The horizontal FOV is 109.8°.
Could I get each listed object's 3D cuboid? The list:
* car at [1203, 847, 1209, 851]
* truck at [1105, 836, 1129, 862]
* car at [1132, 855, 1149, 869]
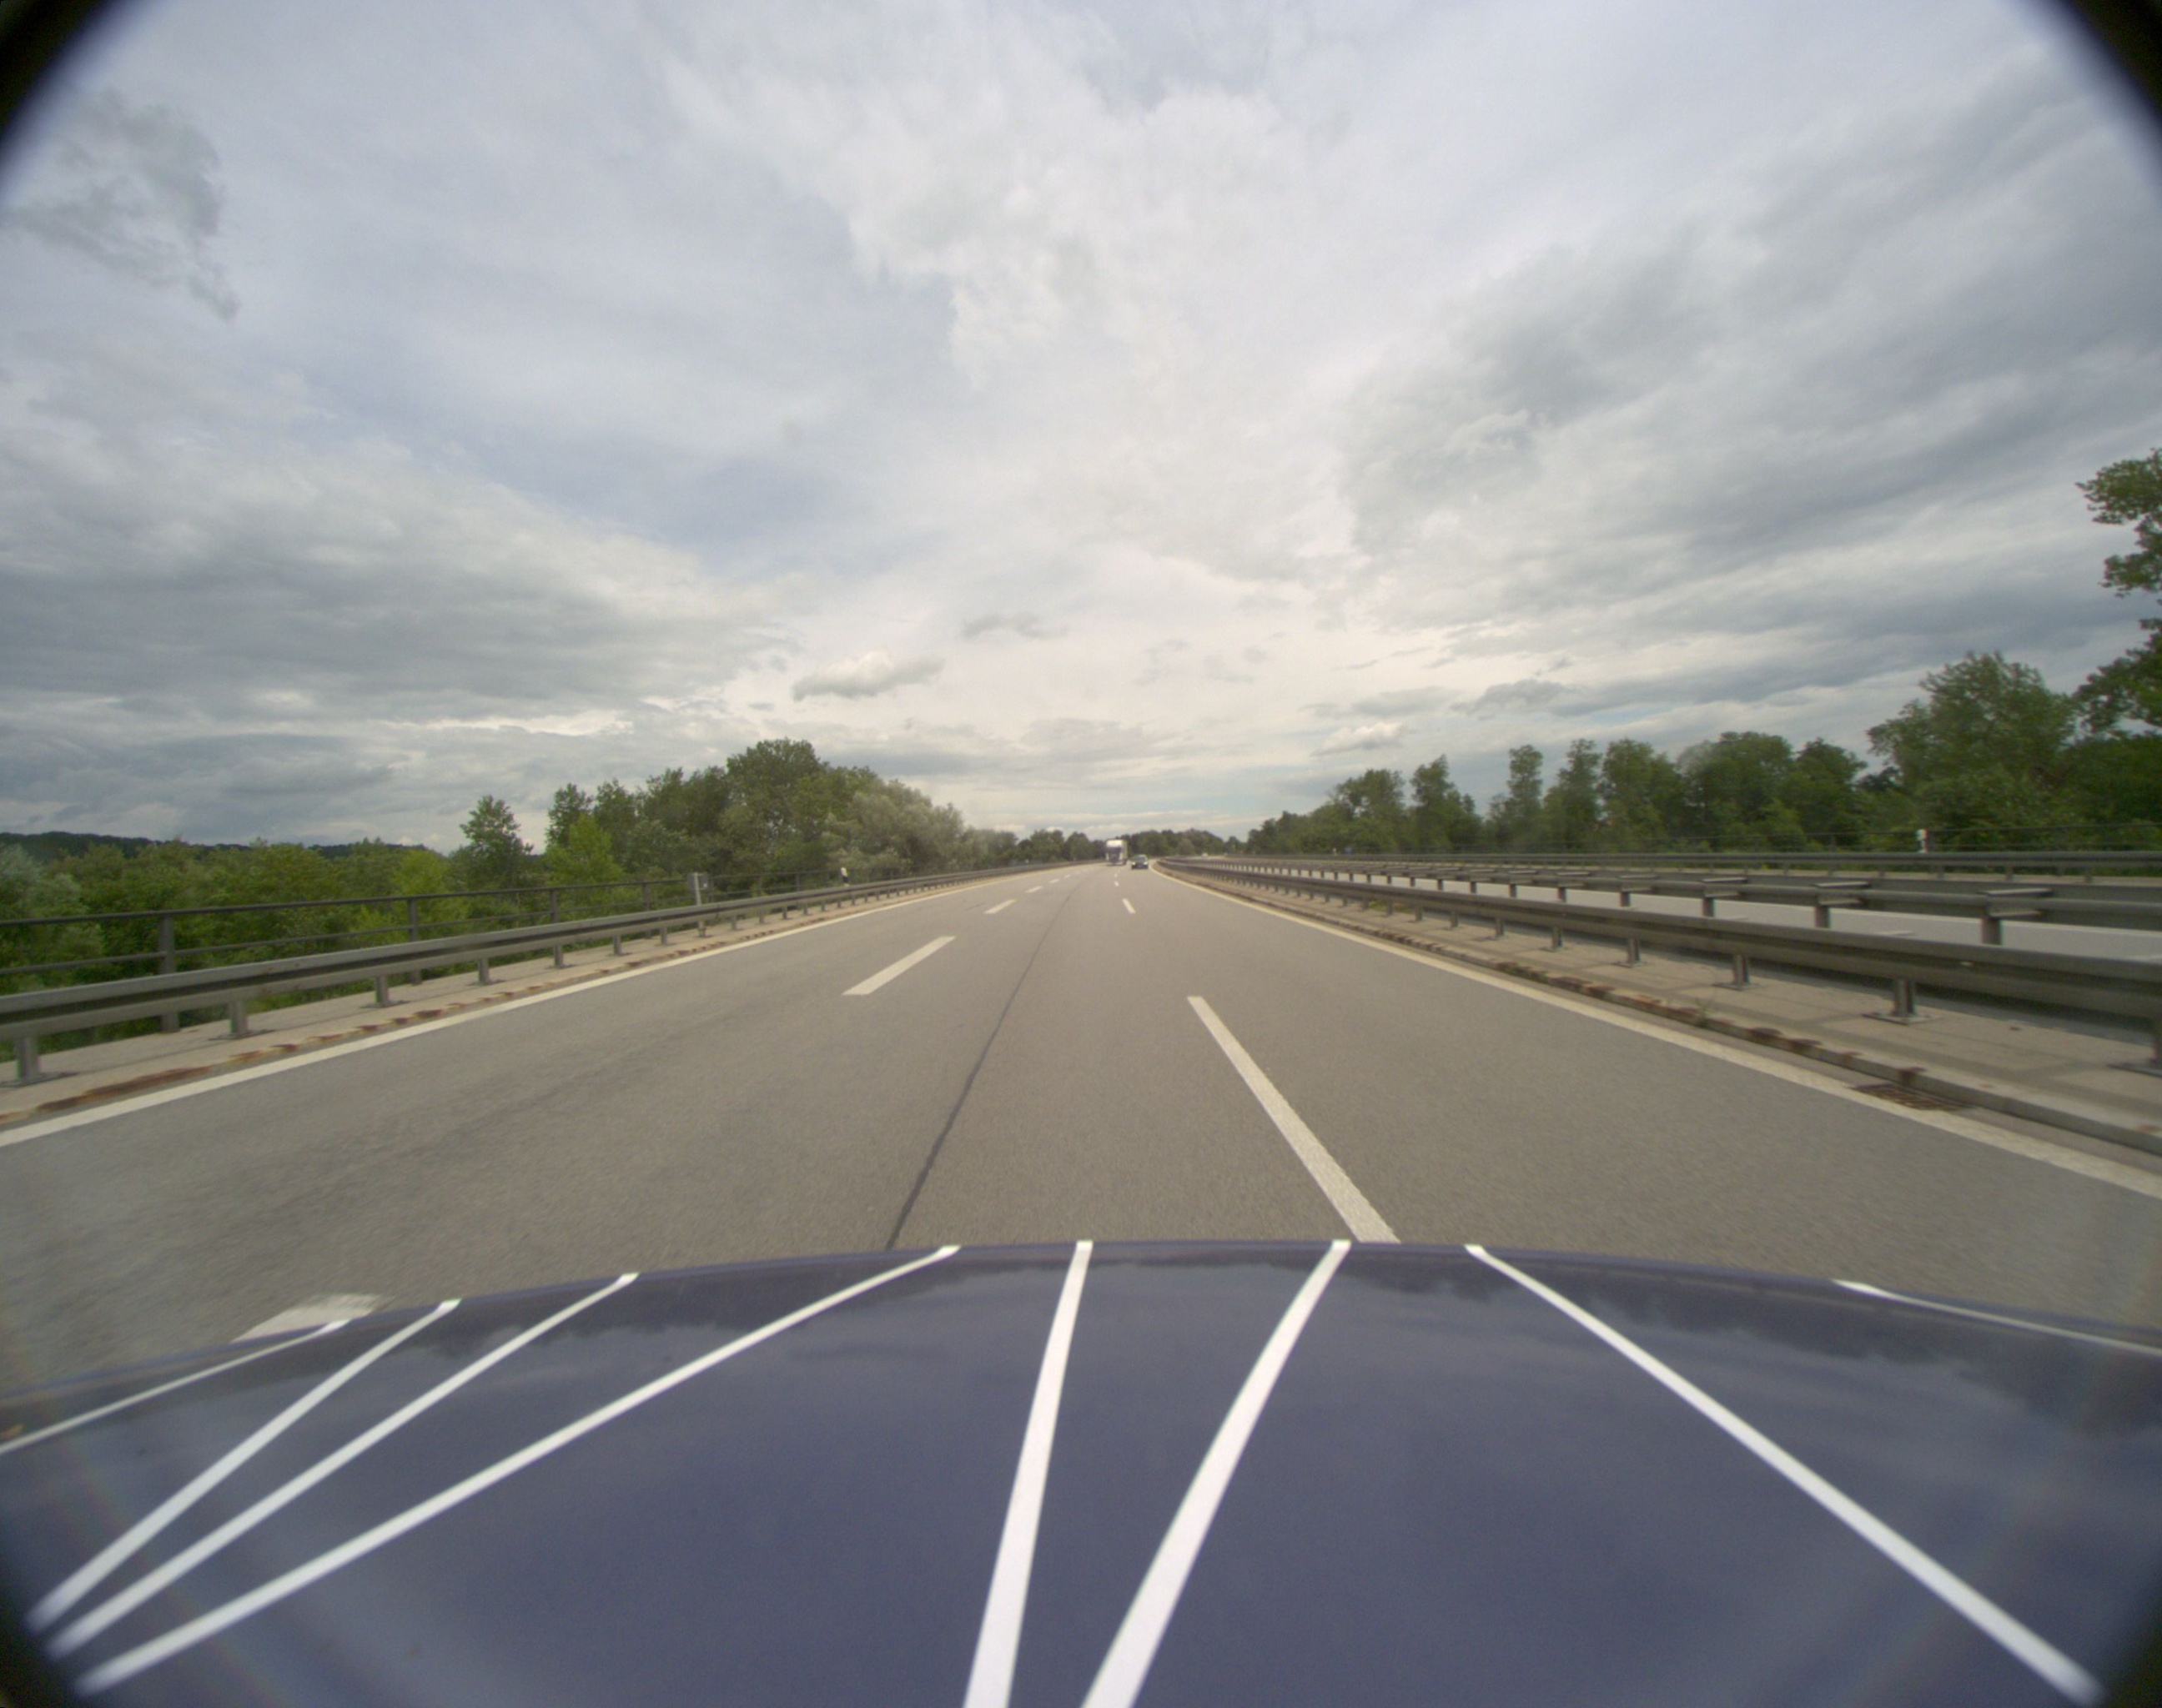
[{"bbox_3d":[38.125,-1.523,232.025,1.534,1.398,4.330,-2,0,5],"label":"car"},{"bbox_3d":[5.789,-0.768,120.304,3.068,3.868,6.004,-2,0,9],"label":"truck"},{"bbox_3d":[6.634,0.870,84.398,1.774,1.474,4.699,-1,-1,5],"label":"car"}]
